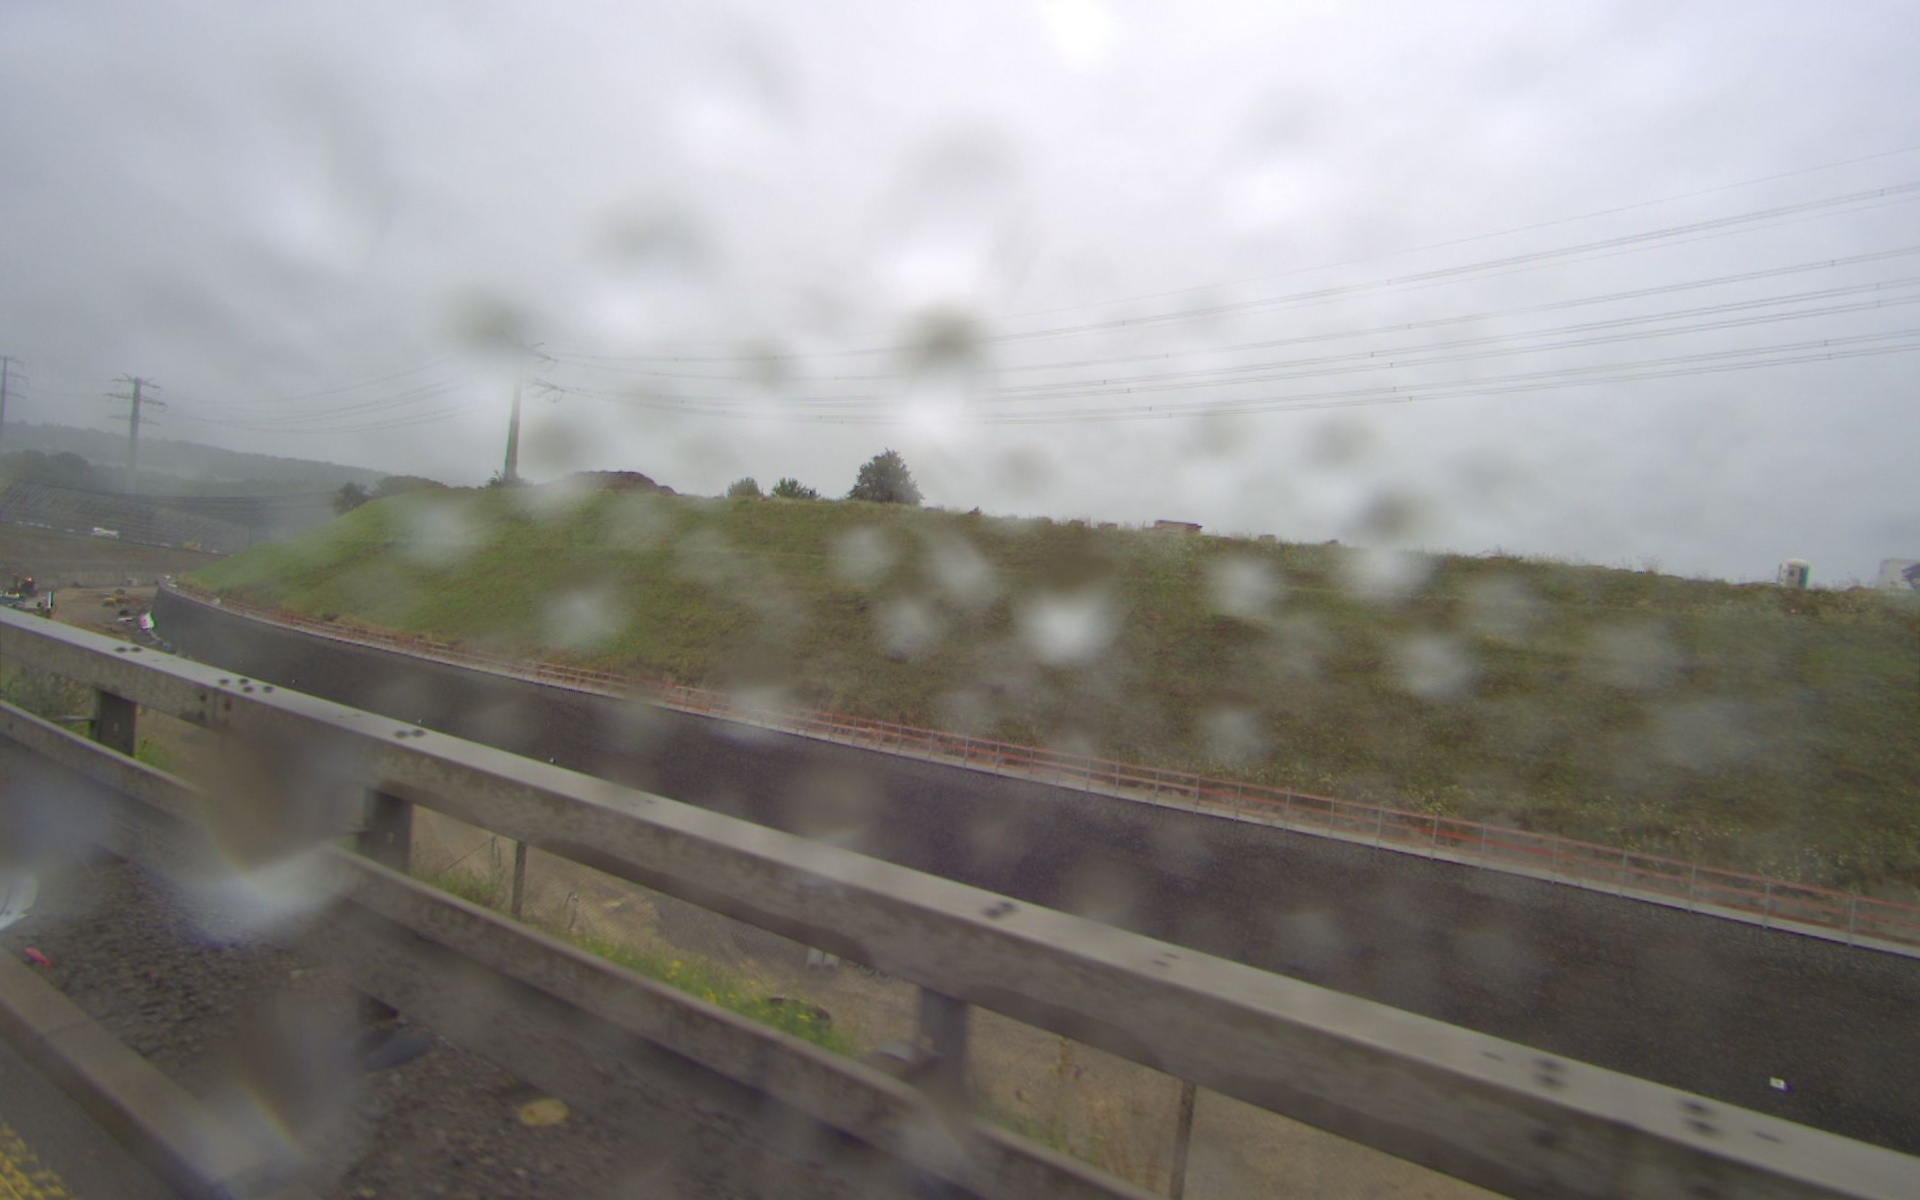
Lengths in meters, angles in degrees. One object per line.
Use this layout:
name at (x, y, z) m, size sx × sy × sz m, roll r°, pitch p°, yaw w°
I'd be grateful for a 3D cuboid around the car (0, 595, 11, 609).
car at (-171.195, 0.349, 179.604) m, size 1.986 × 2.036 × 3.957 m, roll 9°, pitch -3°, yaw -39°

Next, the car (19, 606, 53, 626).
car at (-119.382, 2.099, 129.989) m, size 3.940 × 2.036 × 2.367 m, roll 6°, pitch -3°, yaw 38°

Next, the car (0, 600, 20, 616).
car at (-133.230, 1.071, 140.702) m, size 3.943 × 1.837 × 1.993 m, roll 6°, pitch -2°, yaw 40°
